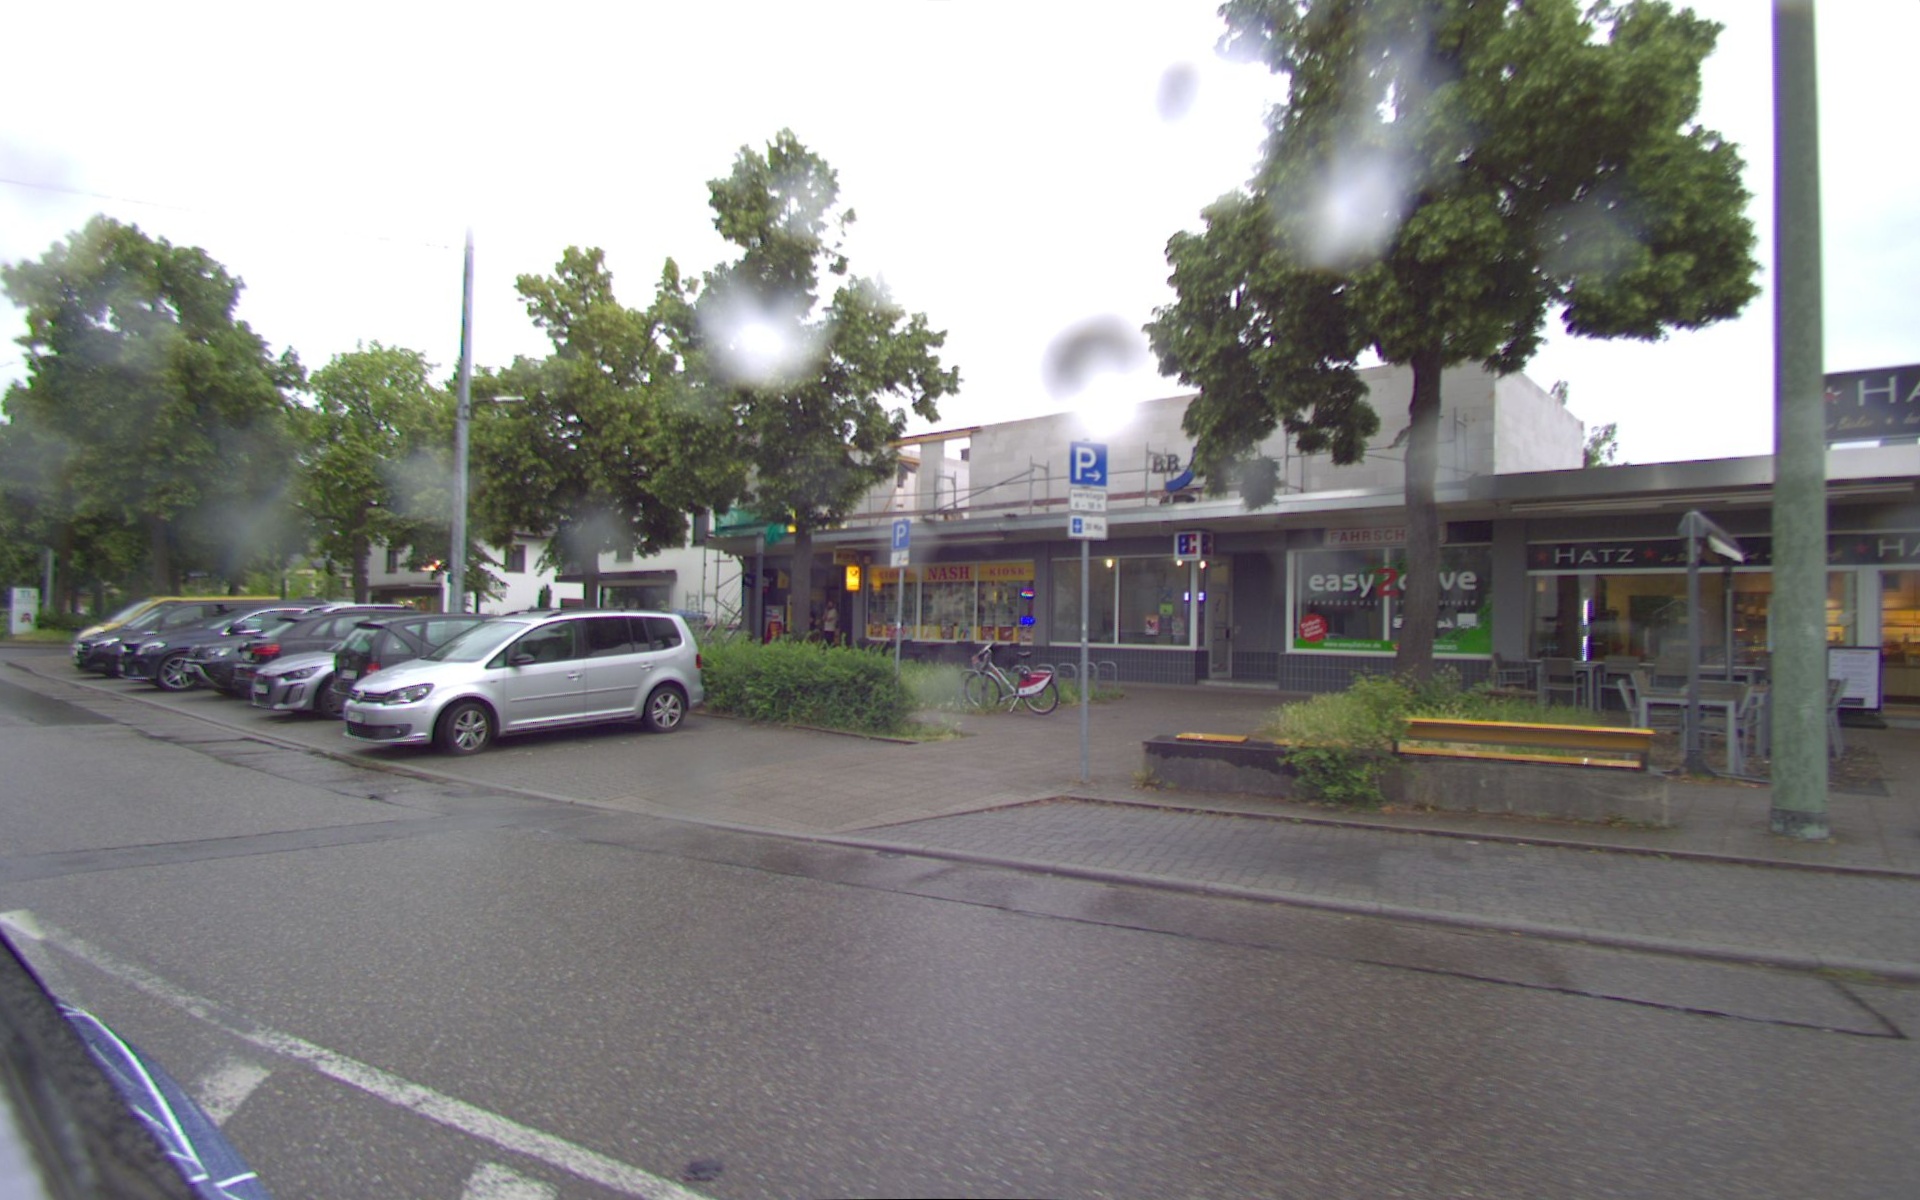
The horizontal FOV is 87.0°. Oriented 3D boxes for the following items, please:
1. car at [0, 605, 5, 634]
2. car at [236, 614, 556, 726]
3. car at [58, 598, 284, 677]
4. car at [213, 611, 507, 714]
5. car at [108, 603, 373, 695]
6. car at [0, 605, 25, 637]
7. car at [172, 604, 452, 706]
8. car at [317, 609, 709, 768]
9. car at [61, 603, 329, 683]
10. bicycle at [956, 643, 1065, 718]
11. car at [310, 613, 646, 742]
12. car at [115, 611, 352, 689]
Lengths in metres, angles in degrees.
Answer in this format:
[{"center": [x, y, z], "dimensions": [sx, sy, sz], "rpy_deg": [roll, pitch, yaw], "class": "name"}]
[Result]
[{"center": [-58.904, 1.180, 59.383], "dimensions": [1.997, 1.698, 3.949], "rpy_deg": [0, 0, 38], "class": "car"}, {"center": [-9.002, 1.022, 16.459], "dimensions": [1.713, 1.544, 4.230], "rpy_deg": [0, 0, 39], "class": "car"}, {"center": [-21.351, 0.946, 27.576], "dimensions": [1.713, 1.973, 4.599], "rpy_deg": [0, 0, 39], "class": "car"}, {"center": [-10.642, 1.016, 18.228], "dimensions": [1.713, 1.607, 4.230], "rpy_deg": [0, 0, 39], "class": "car"}, {"center": [-14.950, 0.938, 21.240], "dimensions": [1.713, 1.740, 4.230], "rpy_deg": [0, 0, 39], "class": "car"}, {"center": [-53.258, 1.171, 54.528], "dimensions": [1.997, 1.698, 3.949], "rpy_deg": [0, 0, 38], "class": "car"}, {"center": [-12.346, 0.960, 19.523], "dimensions": [1.713, 1.740, 4.230], "rpy_deg": [0, 0, 39], "class": "car"}, {"center": [-5.427, 0.943, 12.782], "dimensions": [1.713, 1.647, 4.230], "rpy_deg": [0, 0, 39], "class": "car"}, {"center": [-19.059, 0.987, 25.470], "dimensions": [1.713, 1.813, 5.113], "rpy_deg": [0, 0, 39], "class": "car"}, {"center": [0.793, 1.265, 16.076], "dimensions": [1.740, 1.115, 0.316], "rpy_deg": [0, 0, 26], "class": "bicycle"}, {"center": [-6.949, 1.005, 14.977], "dimensions": [1.634, 1.577, 4.230], "rpy_deg": [0, 0, 39], "class": "car"}, {"center": [-16.899, 1.078, 23.721], "dimensions": [1.713, 1.639, 4.230], "rpy_deg": [0, 0, 39], "class": "car"}]
